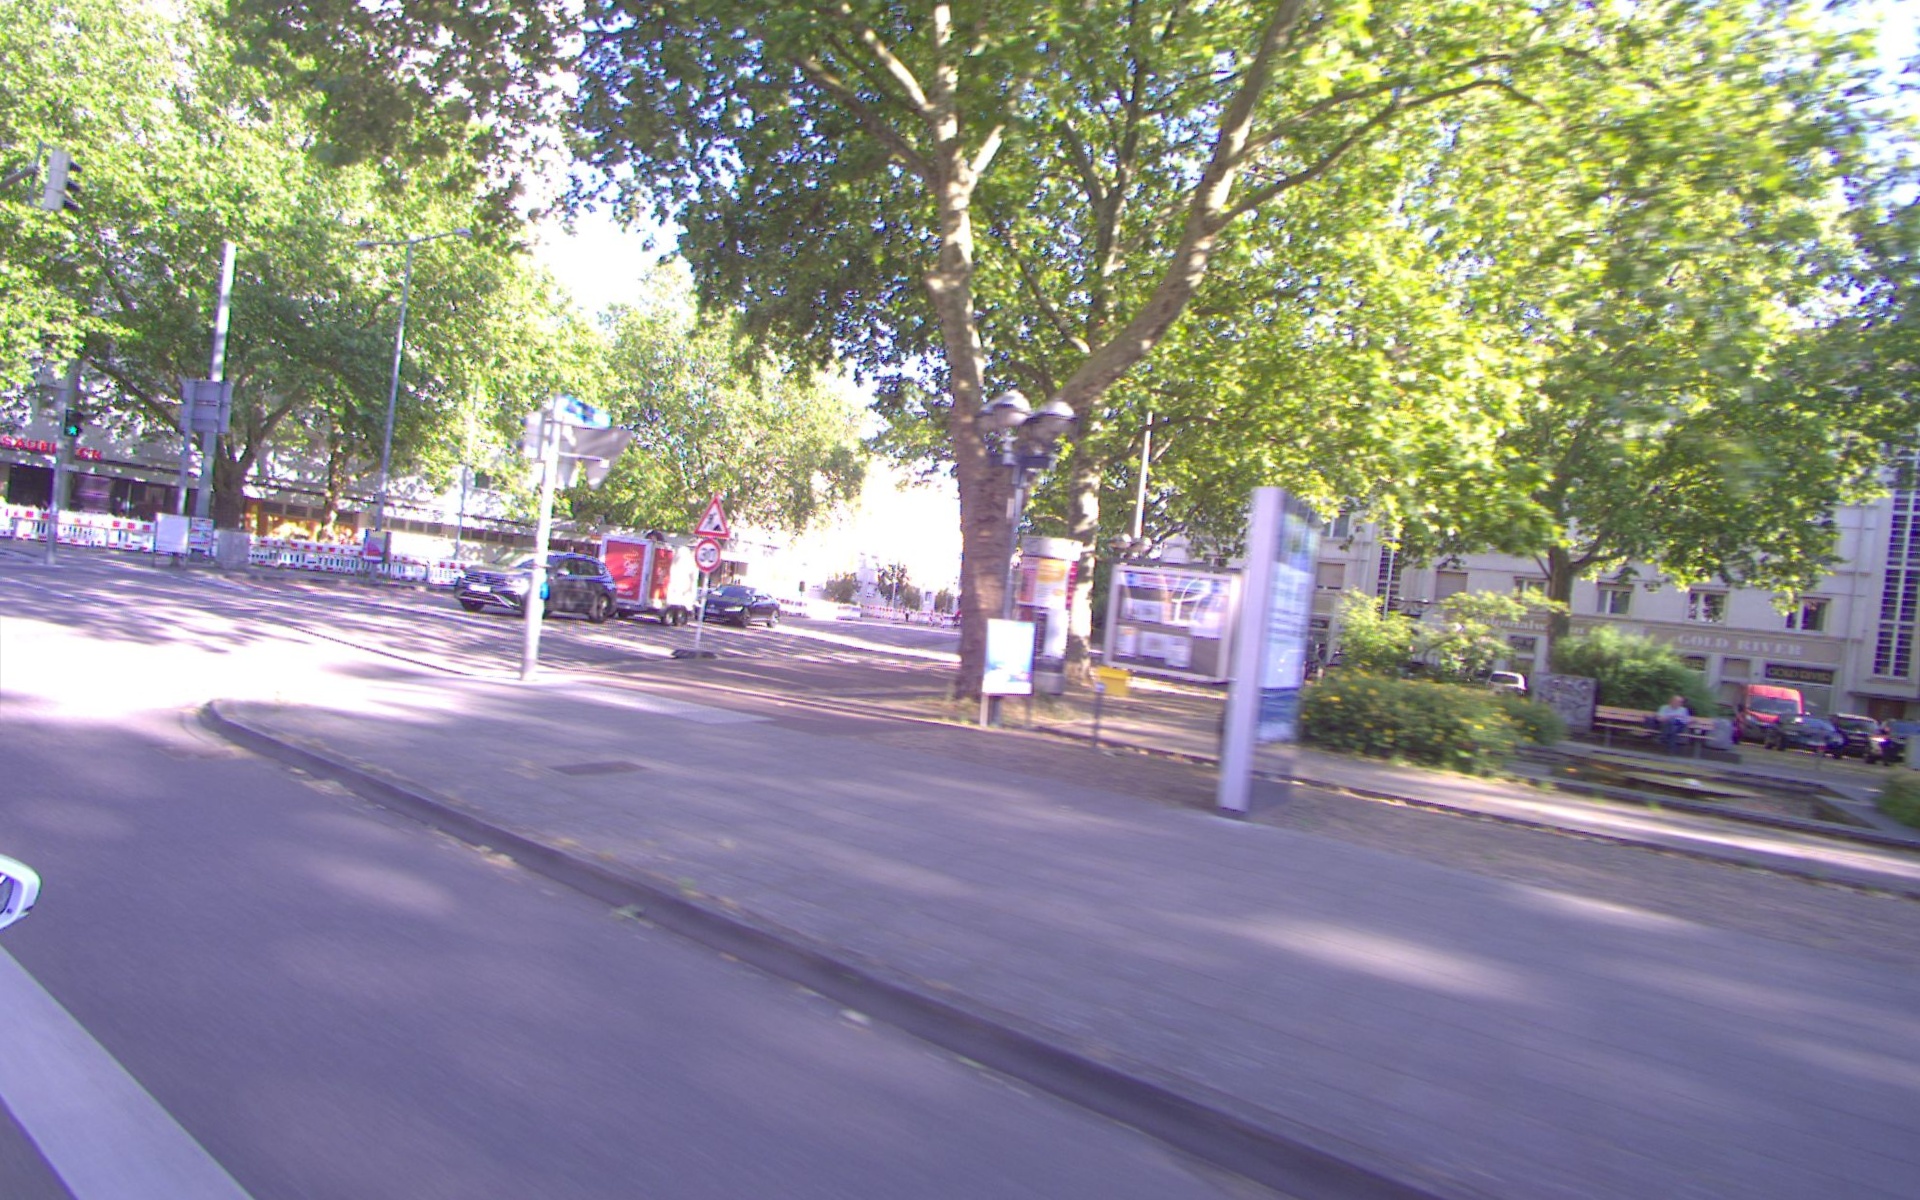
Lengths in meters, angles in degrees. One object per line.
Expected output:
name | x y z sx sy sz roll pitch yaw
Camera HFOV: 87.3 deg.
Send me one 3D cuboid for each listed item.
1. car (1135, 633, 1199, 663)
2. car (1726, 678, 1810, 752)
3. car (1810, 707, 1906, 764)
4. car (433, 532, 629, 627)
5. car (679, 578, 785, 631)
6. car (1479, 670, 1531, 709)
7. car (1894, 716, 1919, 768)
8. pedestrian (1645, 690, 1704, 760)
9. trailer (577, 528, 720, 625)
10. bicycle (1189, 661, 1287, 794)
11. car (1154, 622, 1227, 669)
car | 12.230 2.831 59.331 1.797 1.499 4.332 7 1 39
car | 35.275 4.932 44.043 2.133 2.702 5.051 6 1 33
car | 37.787 5.652 42.486 2.133 1.734 5.061 6 1 33
car | -10.091 -0.399 24.128 1.899 1.658 4.587 7 -2 11
car | -8.006 0.219 35.783 1.899 1.376 4.444 7 -2 11
car | 26.792 4.356 49.431 1.751 1.499 4.338 6 1 33
car | 39.275 5.804 40.360 1.751 1.776 4.338 6 1 33
pedestrian | 14.294 2.501 20.145 0.778 1.254 1.140 7 -2 33
trailer | -9.110 -0.606 29.879 1.877 2.402 4.518 7 0 11
bicycle | 2.648 1.175 9.742 0.525 1.066 1.826 7 -1 7
car | 10.724 2.102 46.659 1.734 1.895 4.338 6 1 33
